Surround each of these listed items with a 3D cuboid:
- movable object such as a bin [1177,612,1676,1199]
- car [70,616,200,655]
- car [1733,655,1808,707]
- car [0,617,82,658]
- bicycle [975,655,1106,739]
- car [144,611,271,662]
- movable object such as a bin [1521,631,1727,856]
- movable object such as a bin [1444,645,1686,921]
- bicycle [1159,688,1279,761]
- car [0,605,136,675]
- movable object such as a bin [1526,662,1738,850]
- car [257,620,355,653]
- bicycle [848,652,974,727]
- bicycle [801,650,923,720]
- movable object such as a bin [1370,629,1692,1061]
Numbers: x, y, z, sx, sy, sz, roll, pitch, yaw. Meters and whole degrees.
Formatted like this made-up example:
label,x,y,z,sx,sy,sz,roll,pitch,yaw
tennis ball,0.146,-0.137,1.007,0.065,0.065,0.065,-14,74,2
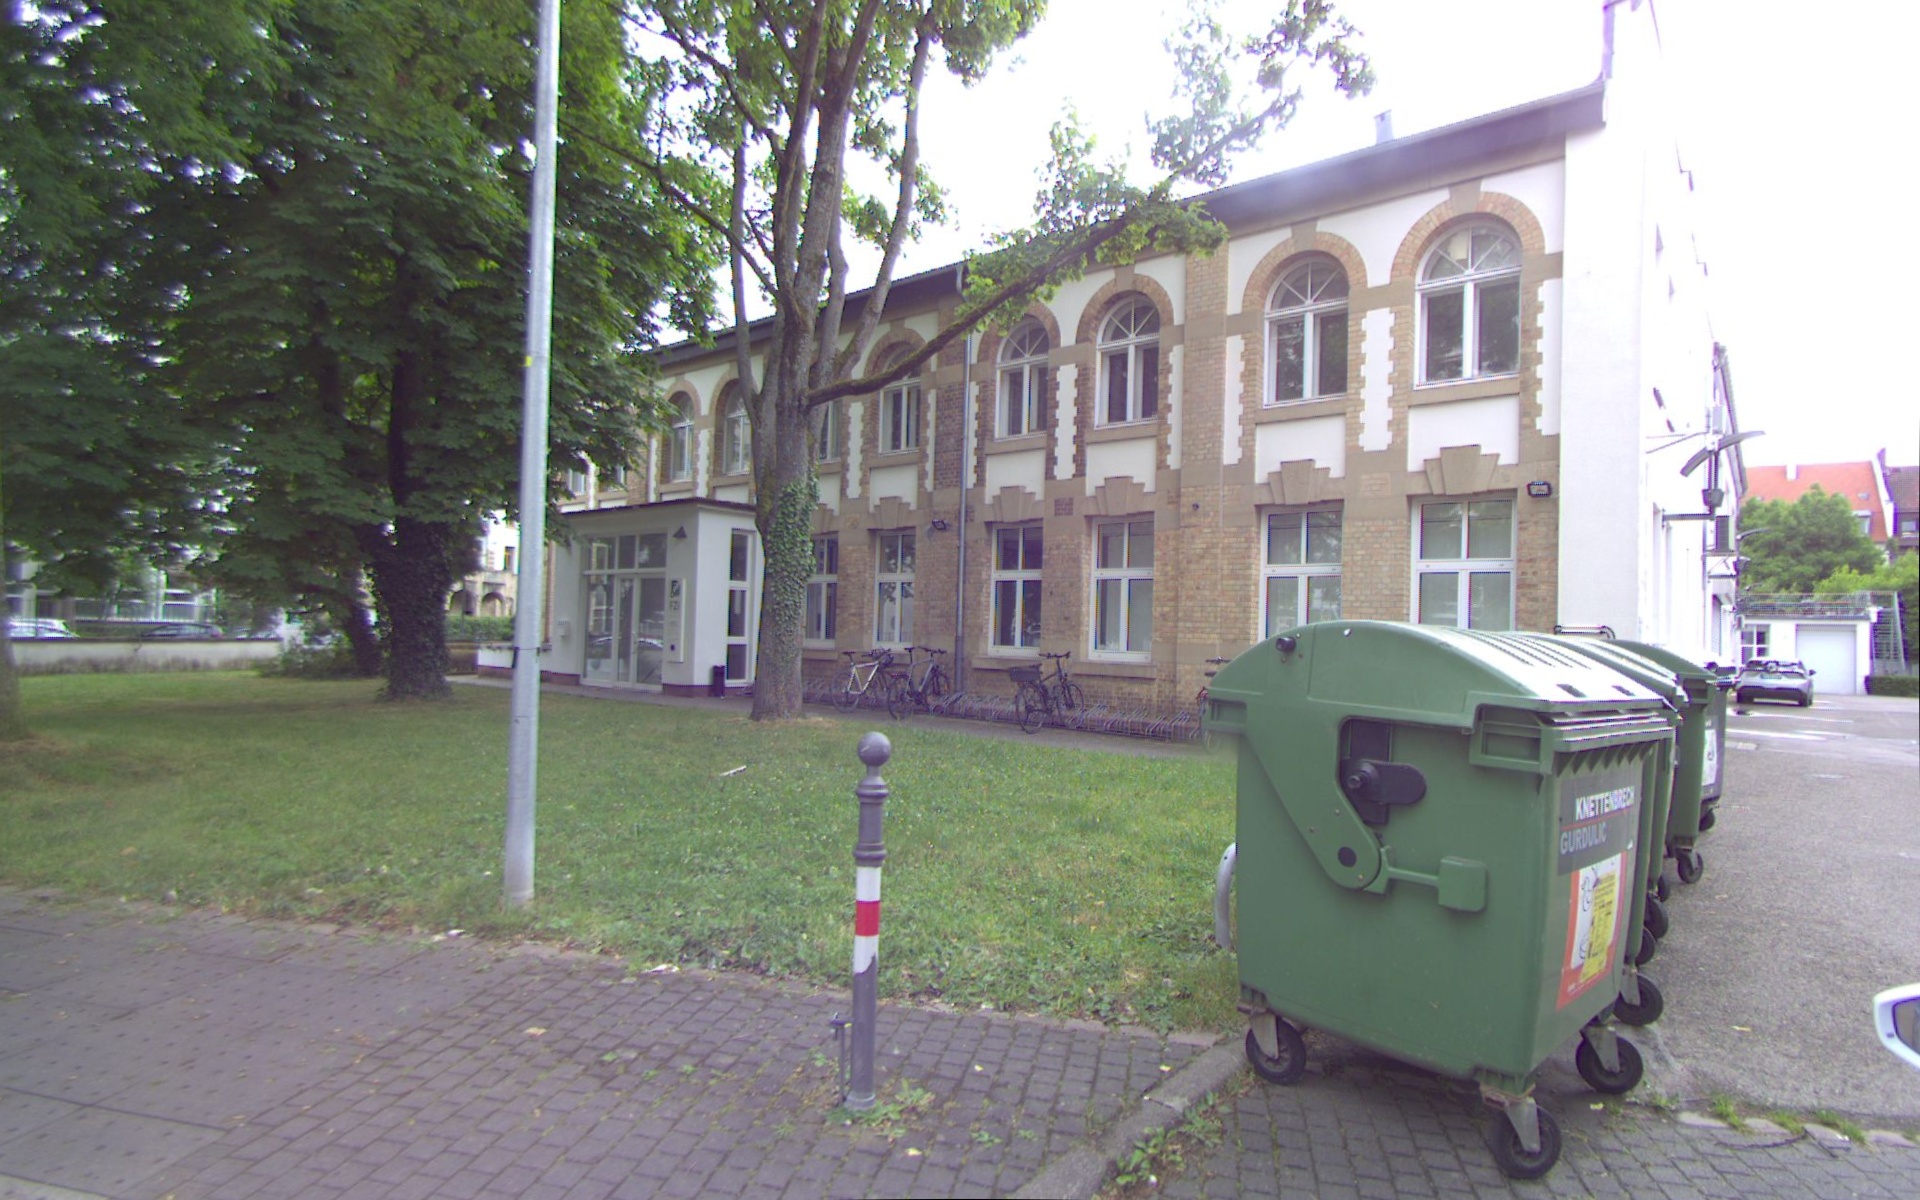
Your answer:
label,x,y,z,sx,sy,sz,roll,pitch,yaw
movable object such as a bin,1.536,0.815,3.233,1.042,1.469,1.346,0,-3,45
car,-34.160,1.485,41.752,3.928,1.369,1.684,4,-2,-34
car,26.722,2.662,33.113,1.825,1.527,3.983,0,-3,40
car,-35.242,1.339,37.120,3.928,1.369,1.684,4,-2,-34
bicycle,1.214,1.384,14.699,0.611,1.134,2.207,-1,-3,45
car,-33.560,1.658,44.920,3.933,2.040,1.995,3,-3,-14
movable object such as a bin,4.339,0.864,6.680,1.037,1.281,1.351,0,-2,30
movable object such as a bin,3.388,0.907,5.636,1.038,1.281,1.350,0,-2,33
bicycle,3.400,1.585,13.077,0.611,0.824,1.932,-1,-3,45
car,-21.552,0.910,23.319,1.450,1.500,3.568,3,-2,11
movable object such as a bin,5.291,1.147,7.905,1.342,1.281,1.044,3,-2,-39
car,-32.820,1.829,50.488,3.656,1.404,1.696,3,-2,-12
bicycle,-0.767,1.442,16.425,0.611,1.134,2.207,-1,-3,45
bicycle,-1.667,1.446,17.398,0.611,1.134,2.207,-1,-3,45
movable object such as a bin,2.488,0.896,4.372,1.038,1.475,1.350,1,-2,33
